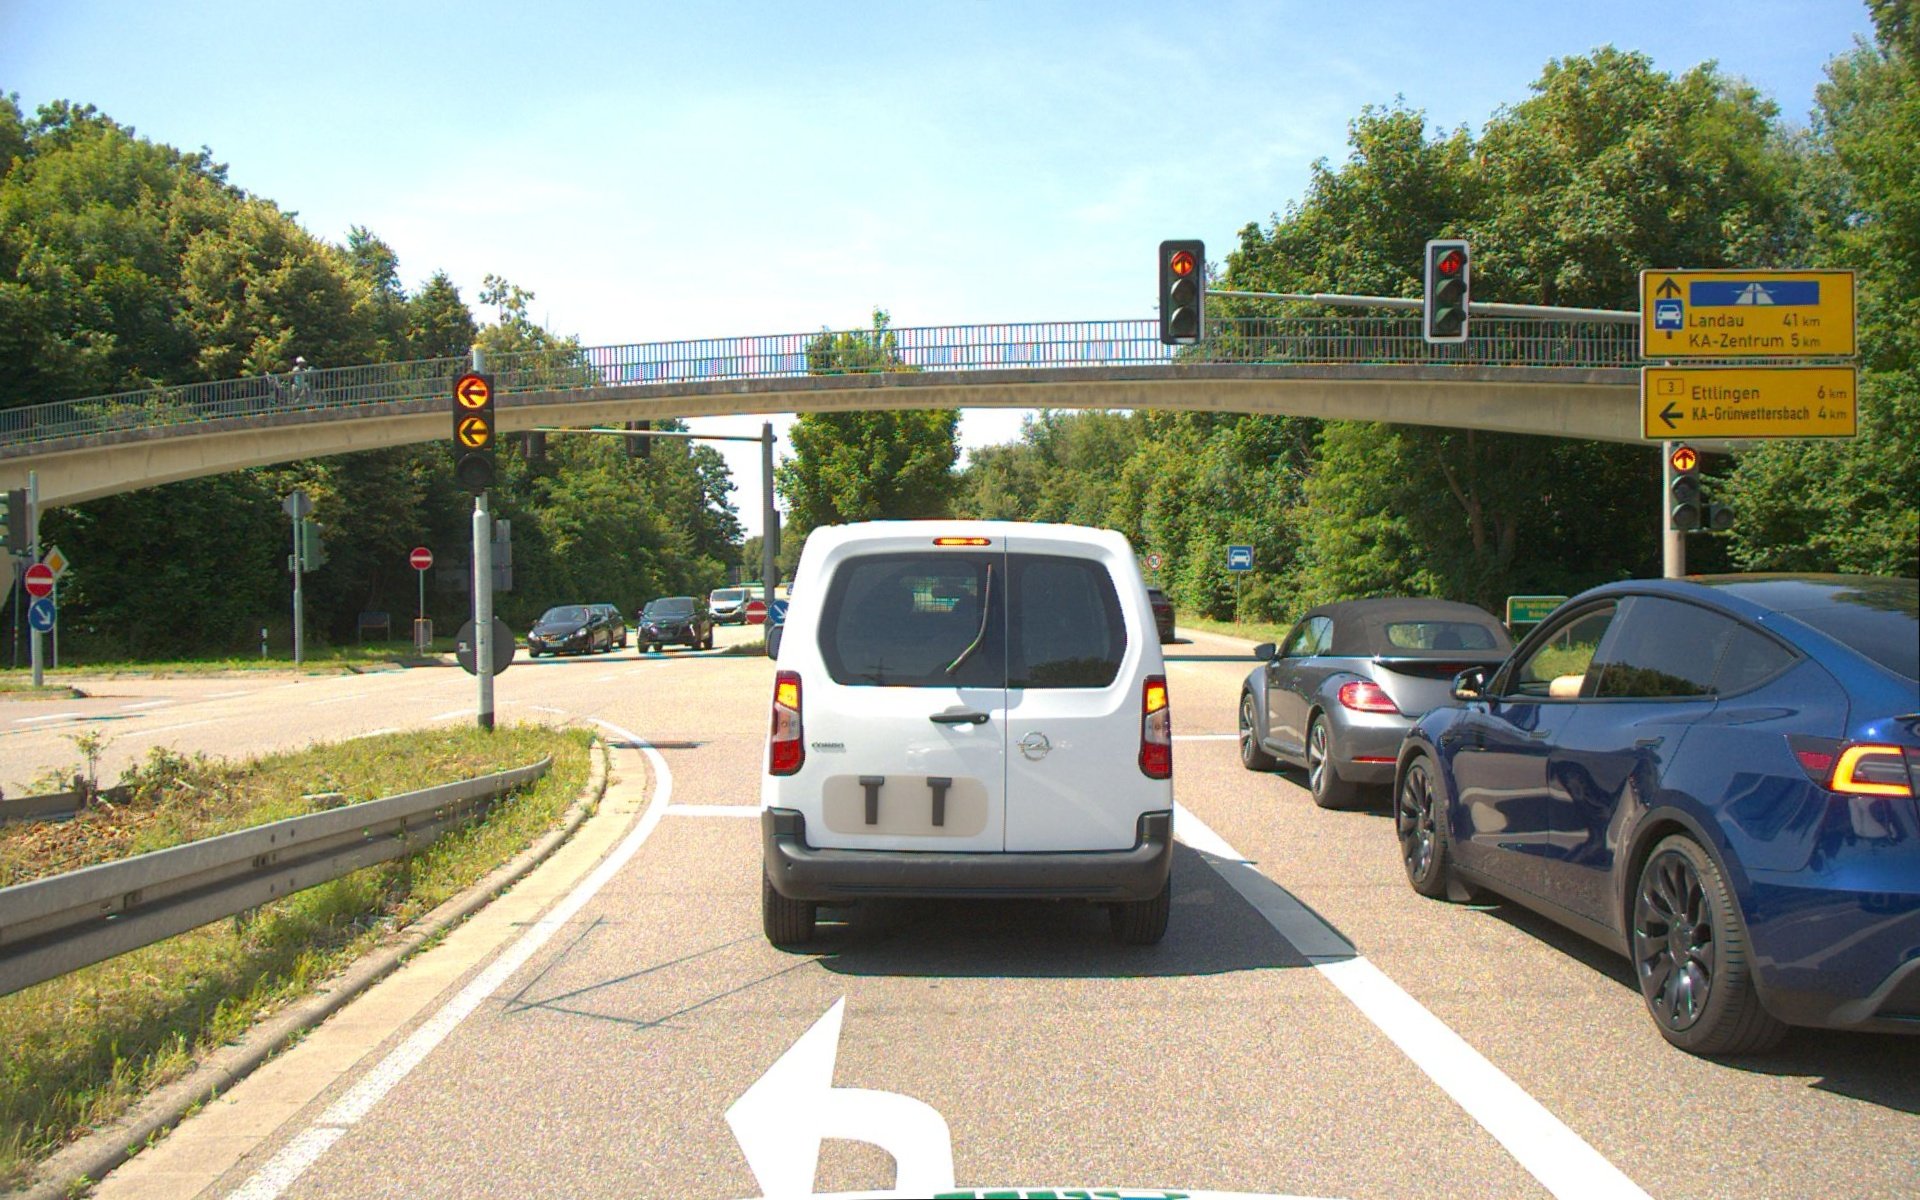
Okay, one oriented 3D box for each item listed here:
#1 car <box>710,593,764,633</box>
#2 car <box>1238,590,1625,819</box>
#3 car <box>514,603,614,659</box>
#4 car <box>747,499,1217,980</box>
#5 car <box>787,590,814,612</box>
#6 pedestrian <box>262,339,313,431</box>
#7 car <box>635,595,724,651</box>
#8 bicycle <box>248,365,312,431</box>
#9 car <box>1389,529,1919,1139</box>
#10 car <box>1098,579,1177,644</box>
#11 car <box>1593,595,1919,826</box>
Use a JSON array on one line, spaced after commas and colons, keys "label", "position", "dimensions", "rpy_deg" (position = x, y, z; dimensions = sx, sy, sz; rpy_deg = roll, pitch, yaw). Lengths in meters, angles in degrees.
[{"label": "car", "position": [-11.951, 0.659, 89.044], "dimensions": [2.163, 2.028, 5.487], "rpy_deg": [-2, 0, -1]}, {"label": "car", "position": [3.484, 0.689, 13.027], "dimensions": [1.862, 1.503, 3.938], "rpy_deg": [1, 0, -1]}, {"label": "car", "position": [-11.596, 0.884, 48.710], "dimensions": [1.967, 1.486, 4.054], "rpy_deg": [-2, 0, -1]}, {"label": "car", "position": [0.032, 0.515, 8.435], "dimensions": [1.812, 1.857, 3.980], "rpy_deg": [1, 1, -2]}, {"label": "car", "position": [-15.462, 0.056, 160.212], "dimensions": [2.163, 2.028, 4.733], "rpy_deg": [-2, 0, -1]}, {"label": "pedestrian", "position": [-17.260, -5.510, 42.462], "dimensions": [0.765, 2.177, 0.932], "rpy_deg": [-3, -2, 15]}, {"label": "car", "position": [-8.115, 0.634, 48.205], "dimensions": [1.953, 1.550, 4.027], "rpy_deg": [0, 0, -1]}, {"label": "bicycle", "position": [-17.361, -5.149, 42.226], "dimensions": [1.494, 1.500, 0.470], "rpy_deg": [-3, -2, 15]}, {"label": "car", "position": [3.326, 0.640, 6.822], "dimensions": [1.862, 1.673, 4.519], "rpy_deg": [1, 0, -1]}, {"label": "car", "position": [5.193, 0.308, 48.962], "dimensions": [1.999, 1.728, 5.088], "rpy_deg": [-3, 0, 3]}, {"label": "car", "position": [6.829, 0.733, 13.134], "dimensions": [1.862, 1.503, 4.379], "rpy_deg": [1, 0, -1]}]
